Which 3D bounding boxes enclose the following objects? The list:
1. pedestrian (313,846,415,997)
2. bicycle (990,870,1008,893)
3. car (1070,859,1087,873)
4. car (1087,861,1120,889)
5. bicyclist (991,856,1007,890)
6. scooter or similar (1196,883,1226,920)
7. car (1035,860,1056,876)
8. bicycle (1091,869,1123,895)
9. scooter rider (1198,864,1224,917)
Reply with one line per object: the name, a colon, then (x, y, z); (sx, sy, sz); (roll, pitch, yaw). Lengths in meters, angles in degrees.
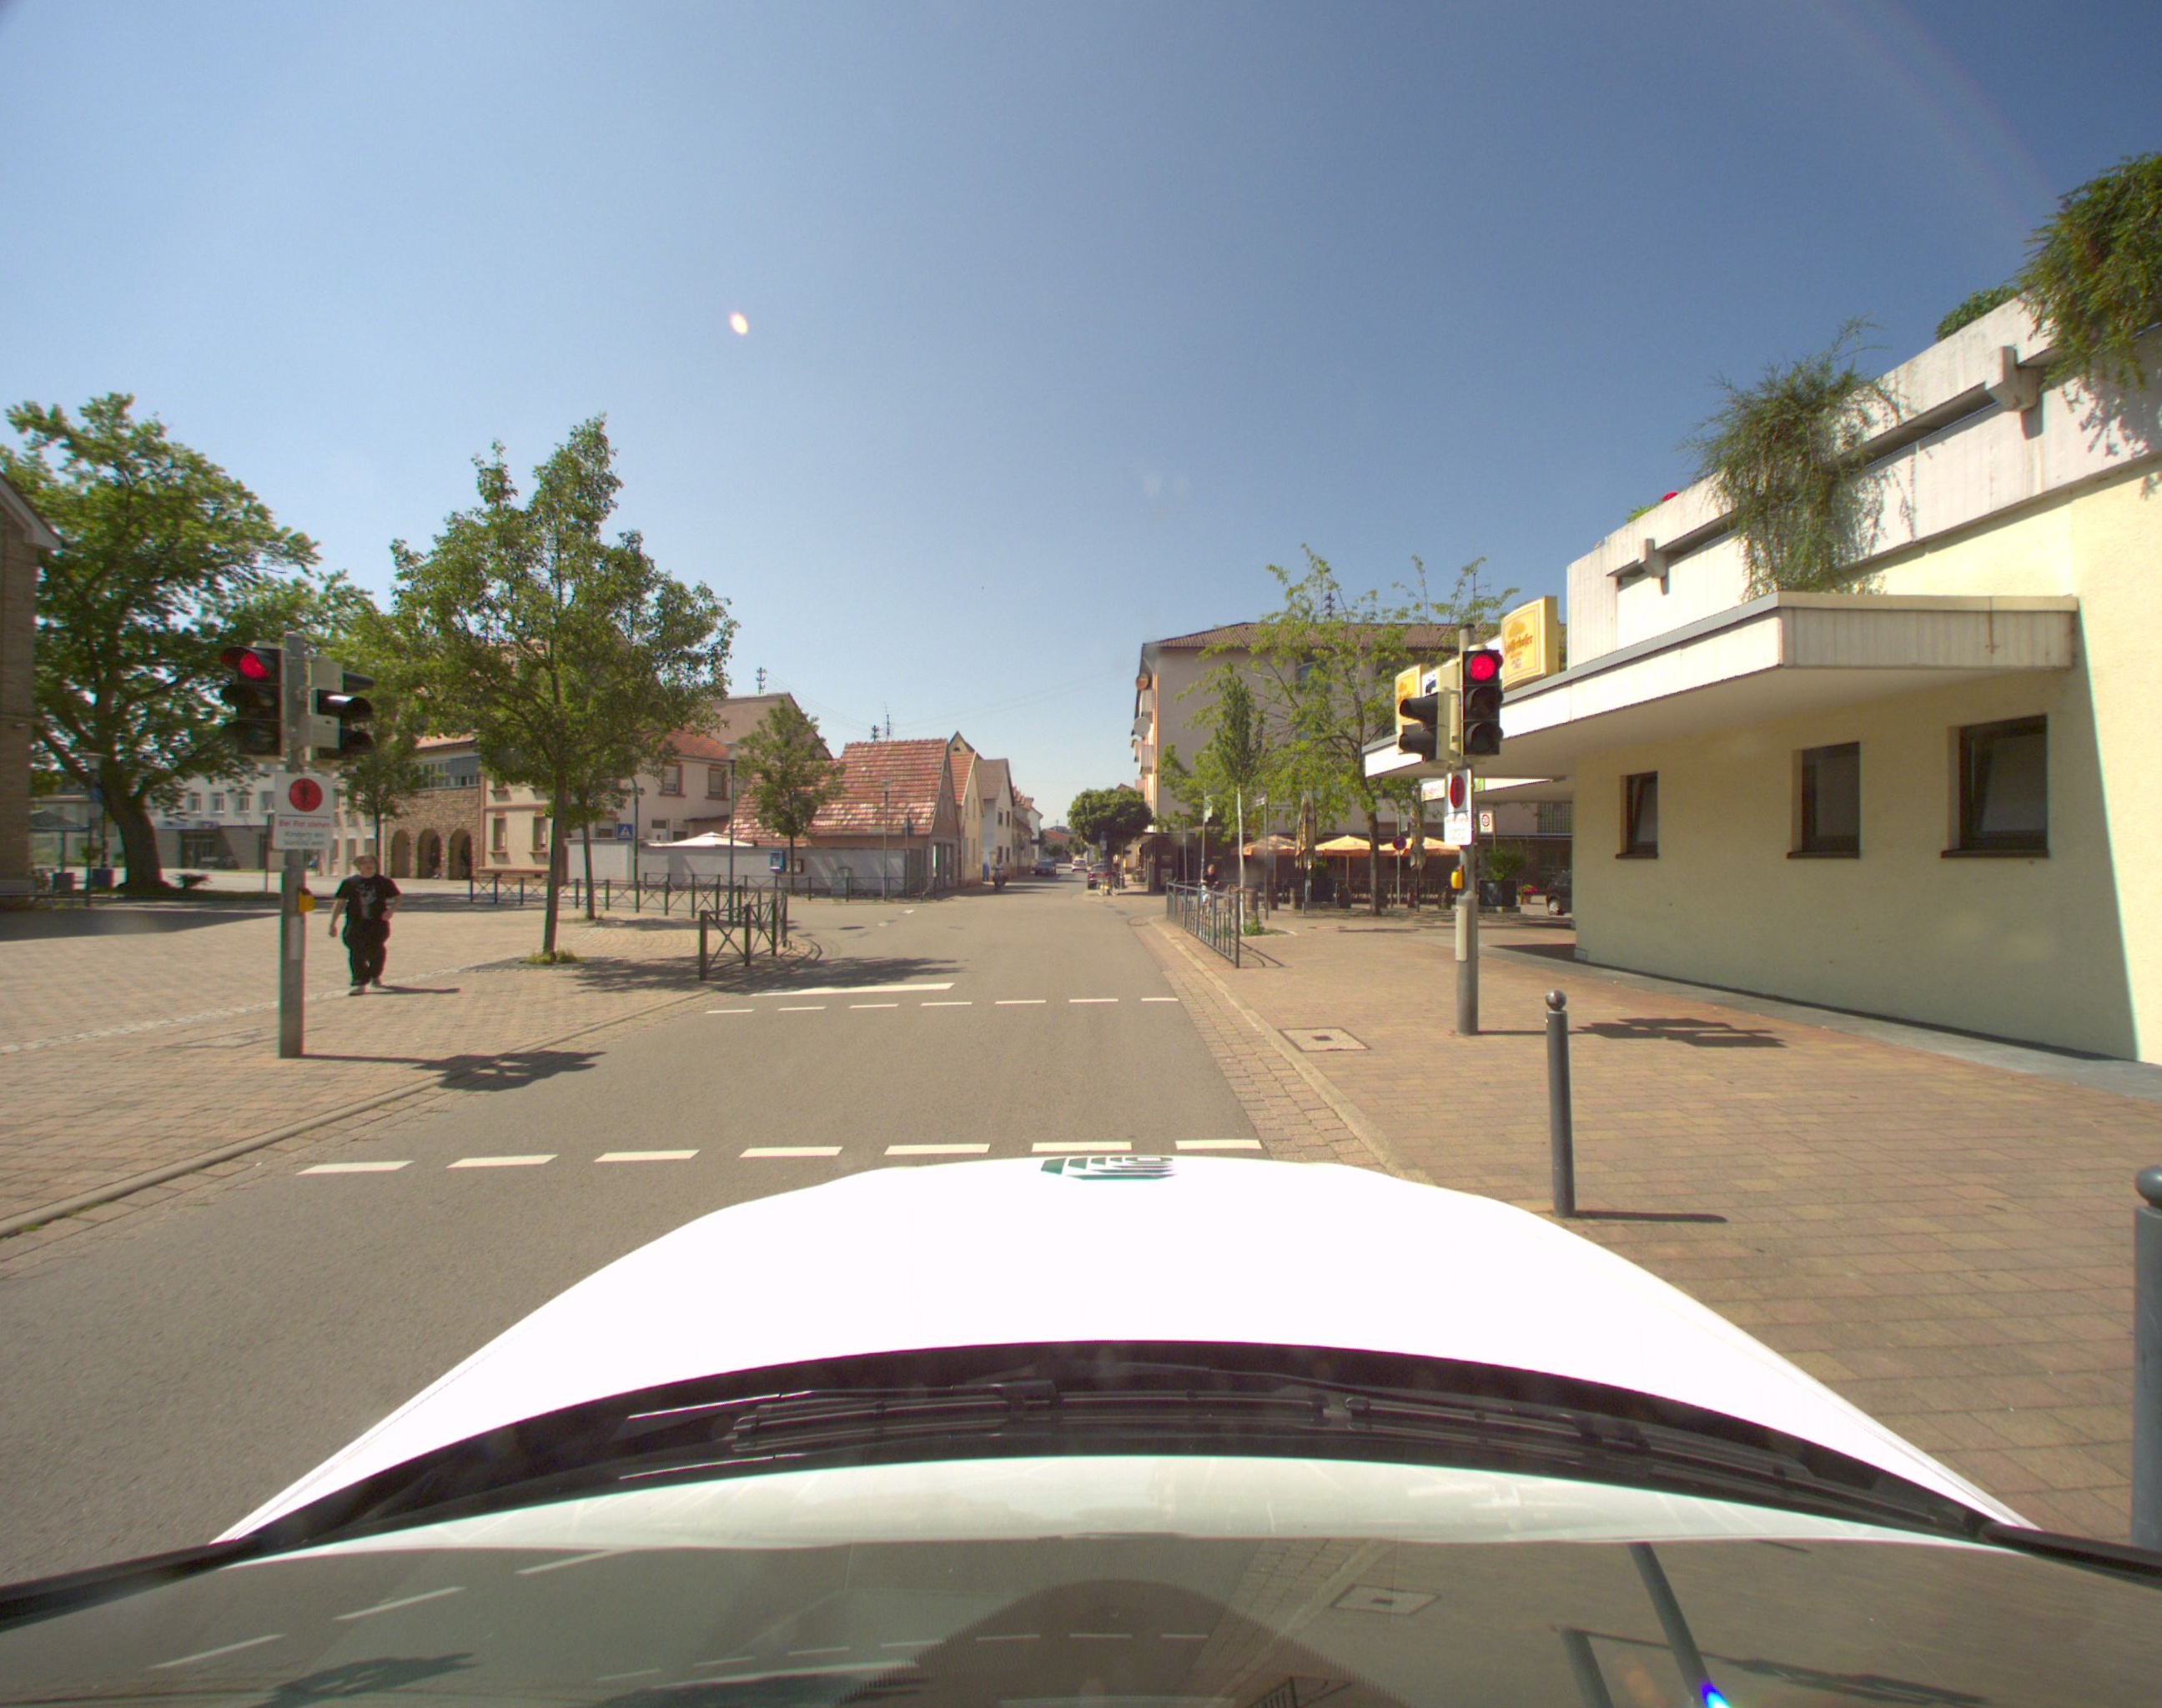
pedestrian: (-8.338, 0.753, 9.519); (0.818, 1.655, 0.841); (2, -2, -40)
bicycle: (-4.125, 1.367, 41.188); (0.671, 1.094, 1.896); (-1, -1, 2)
car: (-0.235, 1.436, 96.765); (1.827, 1.652, 4.002); (0, -1, 2)
car: (1.352, 1.185, 47.507); (1.797, 1.501, 4.003); (0, 0, 3)
bicyclist: (-4.134, 0.950, 41.187); (0.666, 1.691, 0.762); (-1, -1, 1)
scooter or similar: (3.218, 1.162, 20.156); (0.380, 0.873, 0.885); (0, -1, -18)
car: (-3.374, 1.296, 78.451); (1.707, 1.517, 3.789); (0, -1, 3)
bicycle: (1.239, 1.314, 38.728); (0.530, 1.193, 1.655); (1, -1, -42)
scooter rider: (3.223, 0.904, 20.187); (0.517, 1.286, 0.415); (0, -1, -19)
